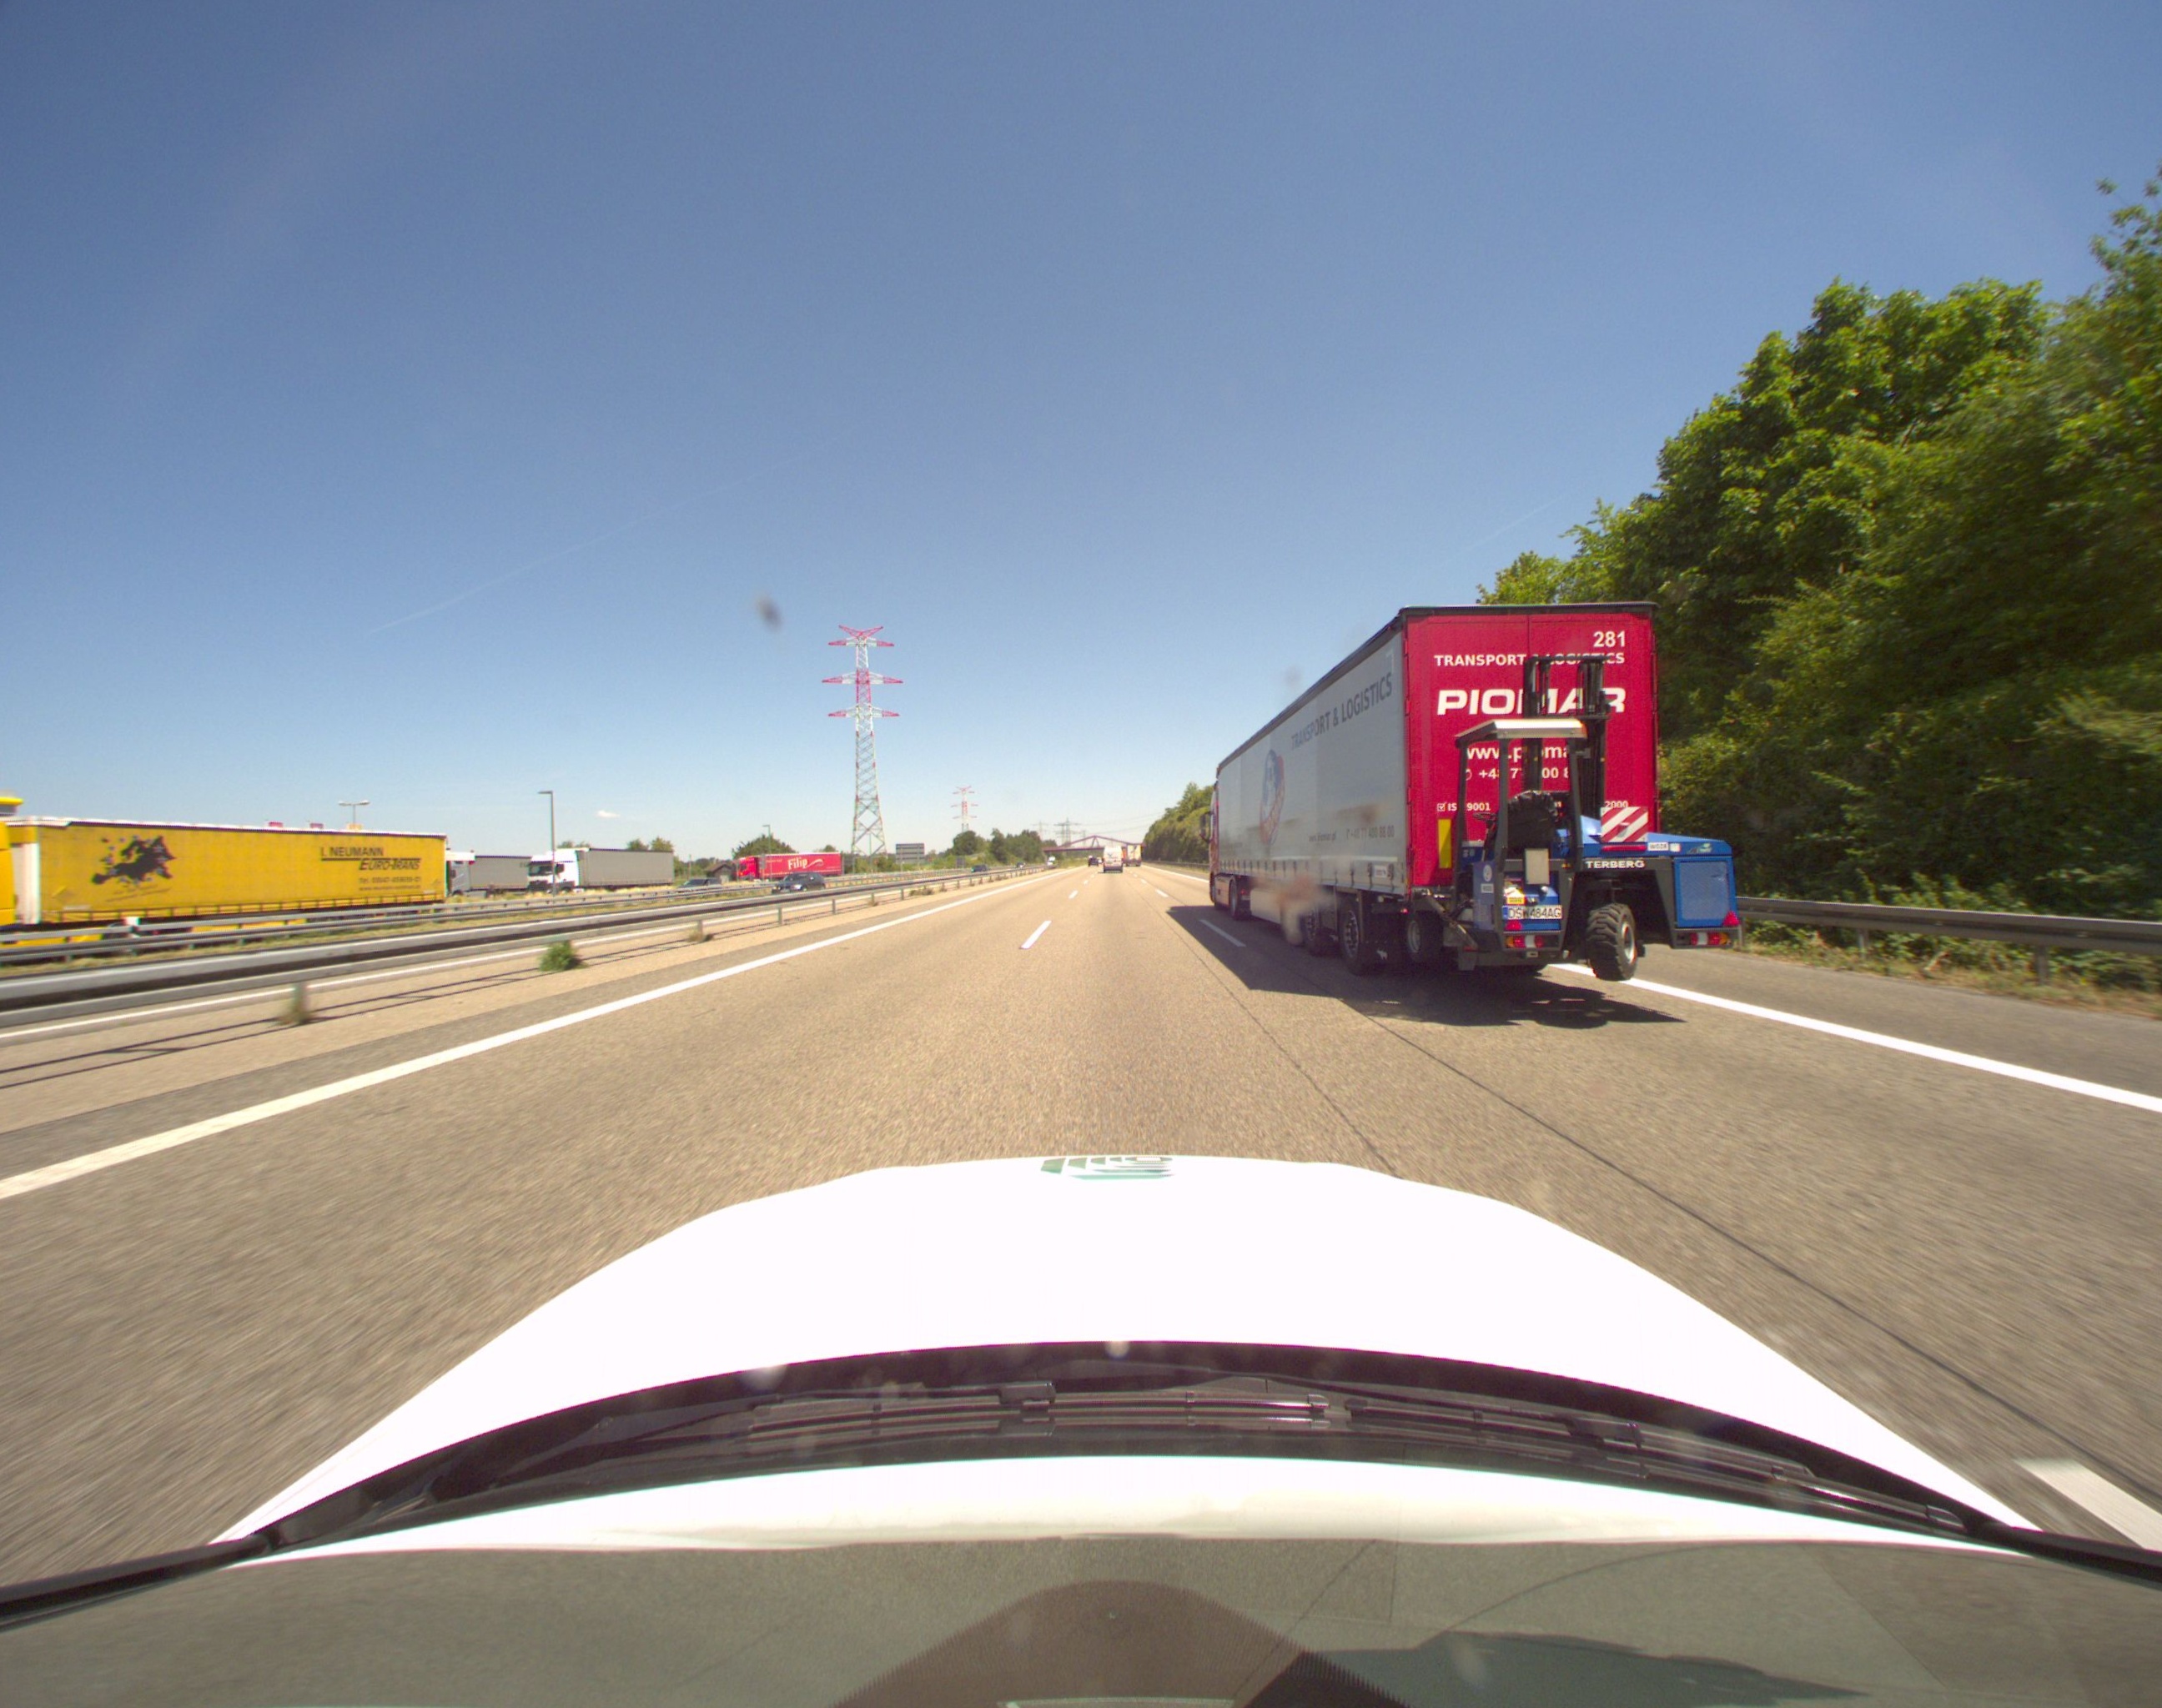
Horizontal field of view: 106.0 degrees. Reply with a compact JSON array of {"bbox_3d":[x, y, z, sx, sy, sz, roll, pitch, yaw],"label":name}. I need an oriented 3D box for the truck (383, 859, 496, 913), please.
[{"bbox_3d":[-54.820,2.652,69.927,3.287,4.357,7.632,0,0,3],"label":"truck"}]

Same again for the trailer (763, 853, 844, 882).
[{"bbox_3d":[-40.225,1.930,118.650,3.091,4.055,11.385,0,-1,36],"label":"trailer"}]

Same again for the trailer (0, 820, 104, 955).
[{"bbox_3d":[-34.711,0.995,22.007,2.821,4.148,11.091,0,0,3],"label":"trailer"}]

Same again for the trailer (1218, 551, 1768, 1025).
[{"bbox_3d":[4.620,-0.505,13.908,2.481,3.909,14.250,-1,0,2],"label":"trailer"}]

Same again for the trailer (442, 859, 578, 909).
[{"bbox_3d":[-54.282,2.704,78.226,3.287,4.357,12.933,0,0,4],"label":"trailer"}]

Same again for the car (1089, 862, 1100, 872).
[{"bbox_3d":[2.587,2.505,156.840,1.974,1.817,3.816,0,0,4],"label":"car"}]

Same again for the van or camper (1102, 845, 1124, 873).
[{"bbox_3d":[3.376,0.541,85.713,2.222,2.782,5.425,0,0,2],"label":"van or camper"}]

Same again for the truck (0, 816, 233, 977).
[{"bbox_3d":[-29.514,1.117,22.931,2.823,4.200,7.919,0,0,1],"label":"truck"}]

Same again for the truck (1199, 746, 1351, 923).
[{"bbox_3d":[4.836,-0.421,21.747,2.490,3.920,7.099,-1,0,1],"label":"truck"}]

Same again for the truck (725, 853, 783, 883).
[{"bbox_3d":[-44.941,1.884,112.129,3.087,4.049,6.687,0,-1,36],"label":"truck"}]

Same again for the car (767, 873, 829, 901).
[{"bbox_3d":[-15.610,1.785,45.157,1.735,1.276,4.320,-4,-1,2],"label":"car"}]

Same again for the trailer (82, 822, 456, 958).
[{"bbox_3d":[-29.385,1.153,30.759,2.823,4.220,11.084,0,0,1],"label":"trailer"}]

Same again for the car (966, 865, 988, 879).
[{"bbox_3d":[-12.745,2.146,99.853,1.965,1.647,5.018,0,0,1],"label":"car"}]

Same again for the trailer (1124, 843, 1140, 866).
[{"bbox_3d":[9.370,0.081,150.450,2.626,4.060,12.374,0,0,3],"label":"trailer"}]

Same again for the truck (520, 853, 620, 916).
[{"bbox_3d":[-41.780,2.412,66.961,3.291,4.850,7.623,0,0,0],"label":"truck"}]

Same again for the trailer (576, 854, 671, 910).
[{"bbox_3d":[-41.782,2.448,74.899,3.291,4.875,9.679,0,0,0],"label":"trailer"}]

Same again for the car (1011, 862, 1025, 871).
[{"bbox_3d":[-11.569,2.248,149.527,1.862,1.398,4.548,-4,-1,2],"label":"car"}]

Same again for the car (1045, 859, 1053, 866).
[{"bbox_3d":[-8.703,2.319,220.178,1.946,1.810,5.048,0,0,1],"label":"car"}]
